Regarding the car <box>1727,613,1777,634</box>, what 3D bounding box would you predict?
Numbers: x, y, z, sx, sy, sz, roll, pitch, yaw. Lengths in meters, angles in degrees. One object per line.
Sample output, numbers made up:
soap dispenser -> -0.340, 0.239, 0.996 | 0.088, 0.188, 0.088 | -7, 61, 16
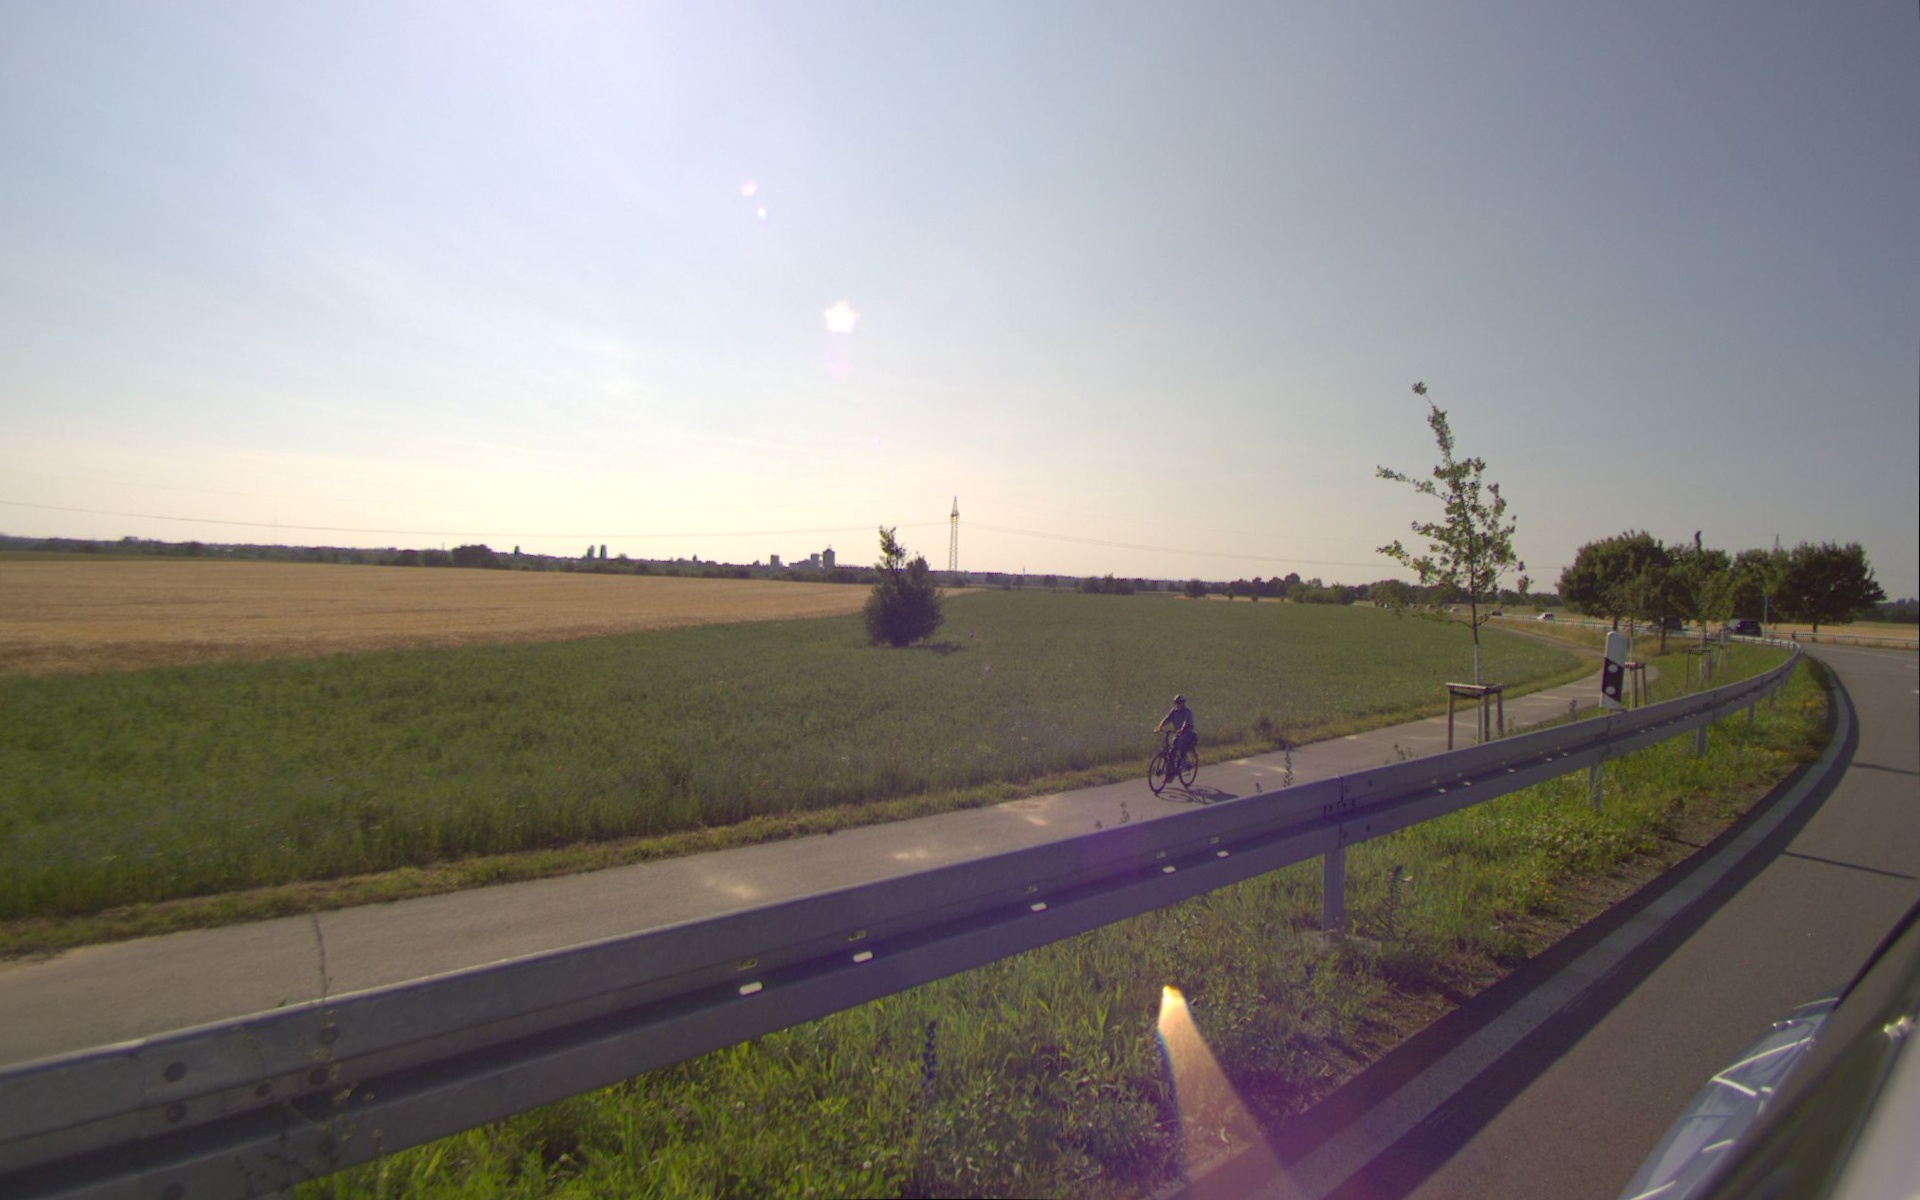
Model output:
car -> 65.414, 1.917, 83.657 | 1.977, 1.613, 4.825 | 1, 0, 23

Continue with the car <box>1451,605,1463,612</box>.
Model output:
car -> 108.112, 1.867, 220.315 | 1.733, 1.447, 3.825 | 0, 0, 17

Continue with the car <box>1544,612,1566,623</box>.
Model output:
car -> 86.225, 2.521, 146.695 | 1.834, 1.467, 4.130 | 0, 0, 17

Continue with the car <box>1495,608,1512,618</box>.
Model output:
car -> 96.409, 2.253, 179.462 | 1.818, 1.563, 4.224 | 0, 1, 16

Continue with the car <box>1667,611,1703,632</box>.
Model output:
car -> 72.442, 2.125, 101.186 | 1.867, 1.820, 5.052 | 0, 1, 23

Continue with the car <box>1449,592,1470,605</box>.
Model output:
car -> 85.960, -0.283, 174.233 | 2.785, 2.039, 6.057 | 0, 0, 22
